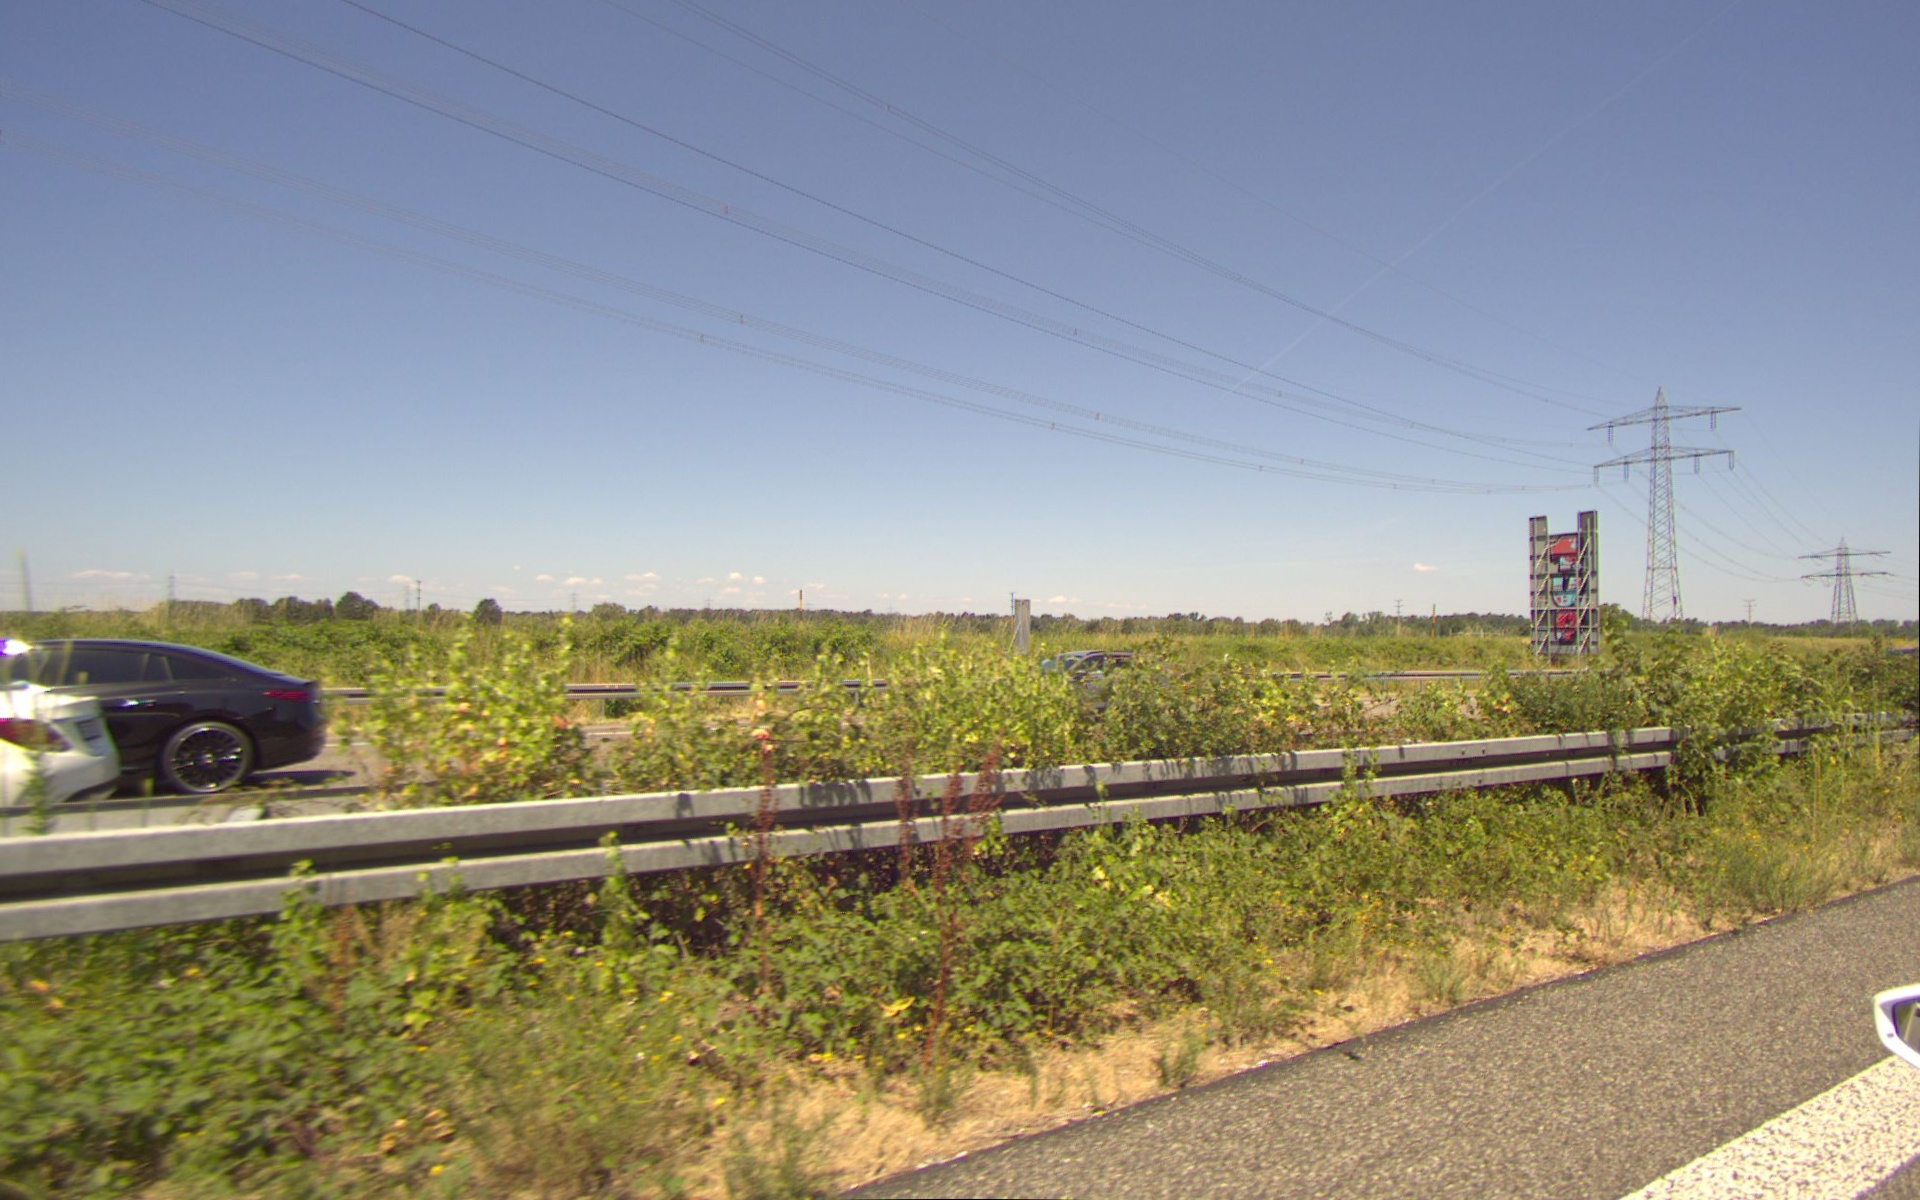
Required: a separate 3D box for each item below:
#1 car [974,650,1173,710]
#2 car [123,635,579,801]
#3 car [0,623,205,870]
[{"bbox_3d":[2.343,1.570,20.364,3.947,1.105,1.495,2,-2,-32],"label":"car"},{"bbox_3d":[-6.431,1.165,11.046,3.953,1.524,1.753,2,-2,-30],"label":"car"},{"bbox_3d":[-7.718,0.879,6.020,4.911,1.510,1.739,2,-2,-32],"label":"car"}]
